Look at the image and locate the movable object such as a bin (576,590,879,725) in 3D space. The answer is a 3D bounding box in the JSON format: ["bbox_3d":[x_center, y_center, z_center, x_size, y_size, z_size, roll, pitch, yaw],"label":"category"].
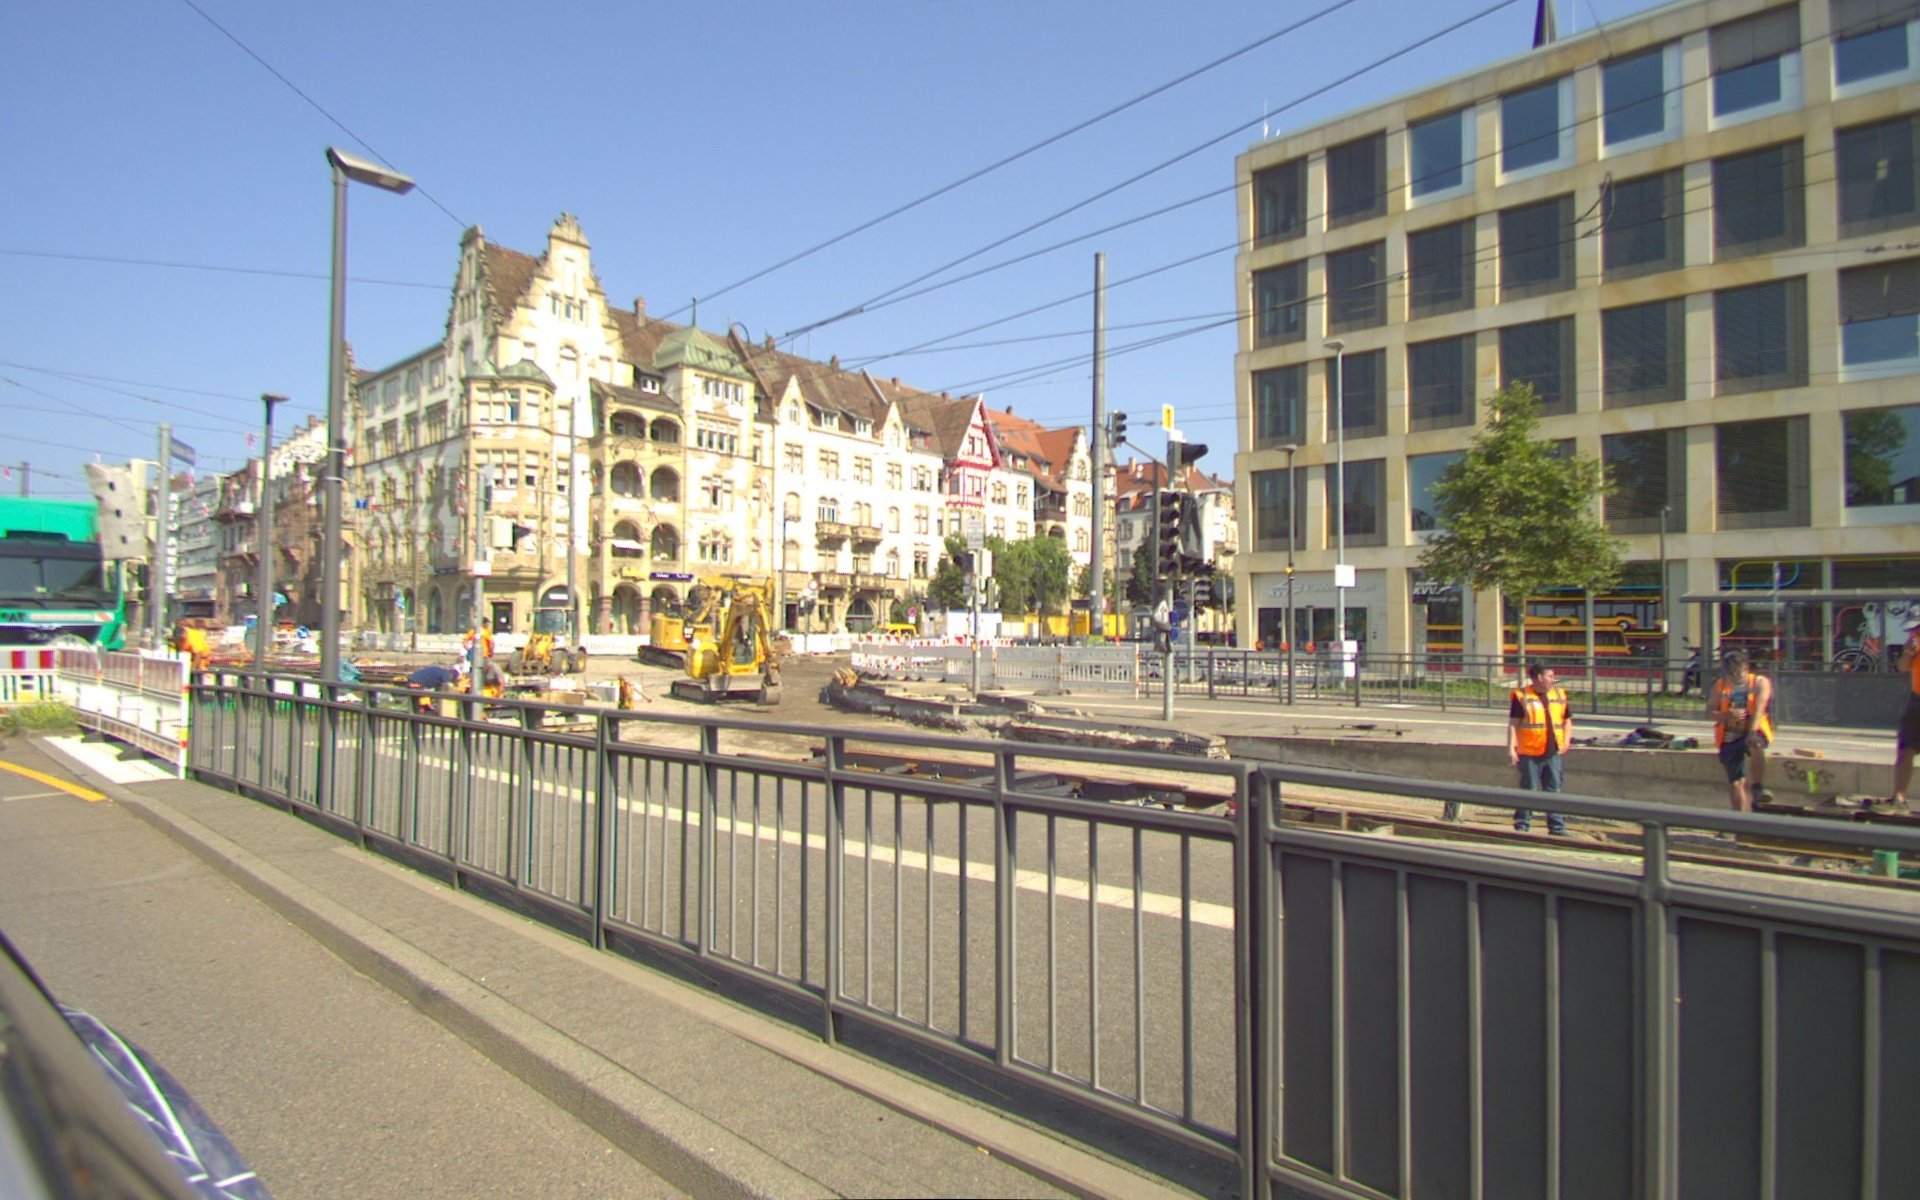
[{"bbox_3d":[-6.335,1.281,26.561,8.475,2.980,3.575,0,0,42],"label":"movable object such as a bin"}]

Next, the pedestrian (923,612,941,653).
[{"bbox_3d":[-1.424,1.652,51.401,0.664,2.080,0.894,0,-2,18],"label":"pedestrian"}]

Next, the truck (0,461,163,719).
[{"bbox_3d":[-17.941,-0.058,18.222,8.384,3.942,2.773,-1,-1,30],"label":"truck"}]

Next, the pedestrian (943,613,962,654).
[{"bbox_3d":[-0.387,1.686,51.158,0.658,2.029,0.831,1,-2,-25],"label":"pedestrian"}]

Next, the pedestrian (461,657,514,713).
[{"bbox_3d":[-8.905,1.589,19.056,0.933,0.996,0.506,-2,-3,37],"label":"pedestrian"}]

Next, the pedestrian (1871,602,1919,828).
[{"bbox_3d":[8.120,0.940,8.330,0.634,1.830,0.624,0,-3,10],"label":"pedestrian"}]

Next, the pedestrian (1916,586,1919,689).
[{"bbox_3d":[7.825,0.871,7.568,0.713,1.966,0.790,2,-3,-34],"label":"pedestrian"}]

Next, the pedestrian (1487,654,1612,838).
[{"bbox_3d":[5.671,1.367,9.768,0.657,1.676,0.774,1,-3,-15],"label":"pedestrian"}]

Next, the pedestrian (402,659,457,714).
[{"bbox_3d":[-9.353,1.521,17.862,0.808,0.933,0.514,1,-3,-25],"label":"pedestrian"}]

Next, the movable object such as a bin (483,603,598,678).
[{"bbox_3d":[-17.084,1.642,41.516,2.418,2.856,4.809,1,-2,4],"label":"movable object such as a bin"}]

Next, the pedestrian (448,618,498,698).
[{"bbox_3d":[-9.780,1.157,20.348,0.804,1.578,0.558,1,-3,-19],"label":"pedestrian"}]

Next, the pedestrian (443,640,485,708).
[{"bbox_3d":[-11.791,1.743,24.068,0.556,1.578,0.693,-2,-3,39],"label":"pedestrian"}]

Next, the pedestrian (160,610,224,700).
[{"bbox_3d":[-13.821,0.979,18.213,0.691,1.578,0.752,-2,-3,41],"label":"pedestrian"}]

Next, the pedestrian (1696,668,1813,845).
[{"bbox_3d":[7.453,1.438,9.520,0.620,1.566,0.638,-1,-3,15],"label":"pedestrian"}]

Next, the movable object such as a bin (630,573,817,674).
[{"bbox_3d":[-11.200,1.116,47.967,7.259,4.380,4.982,2,-1,-35],"label":"movable object such as a bin"}]
